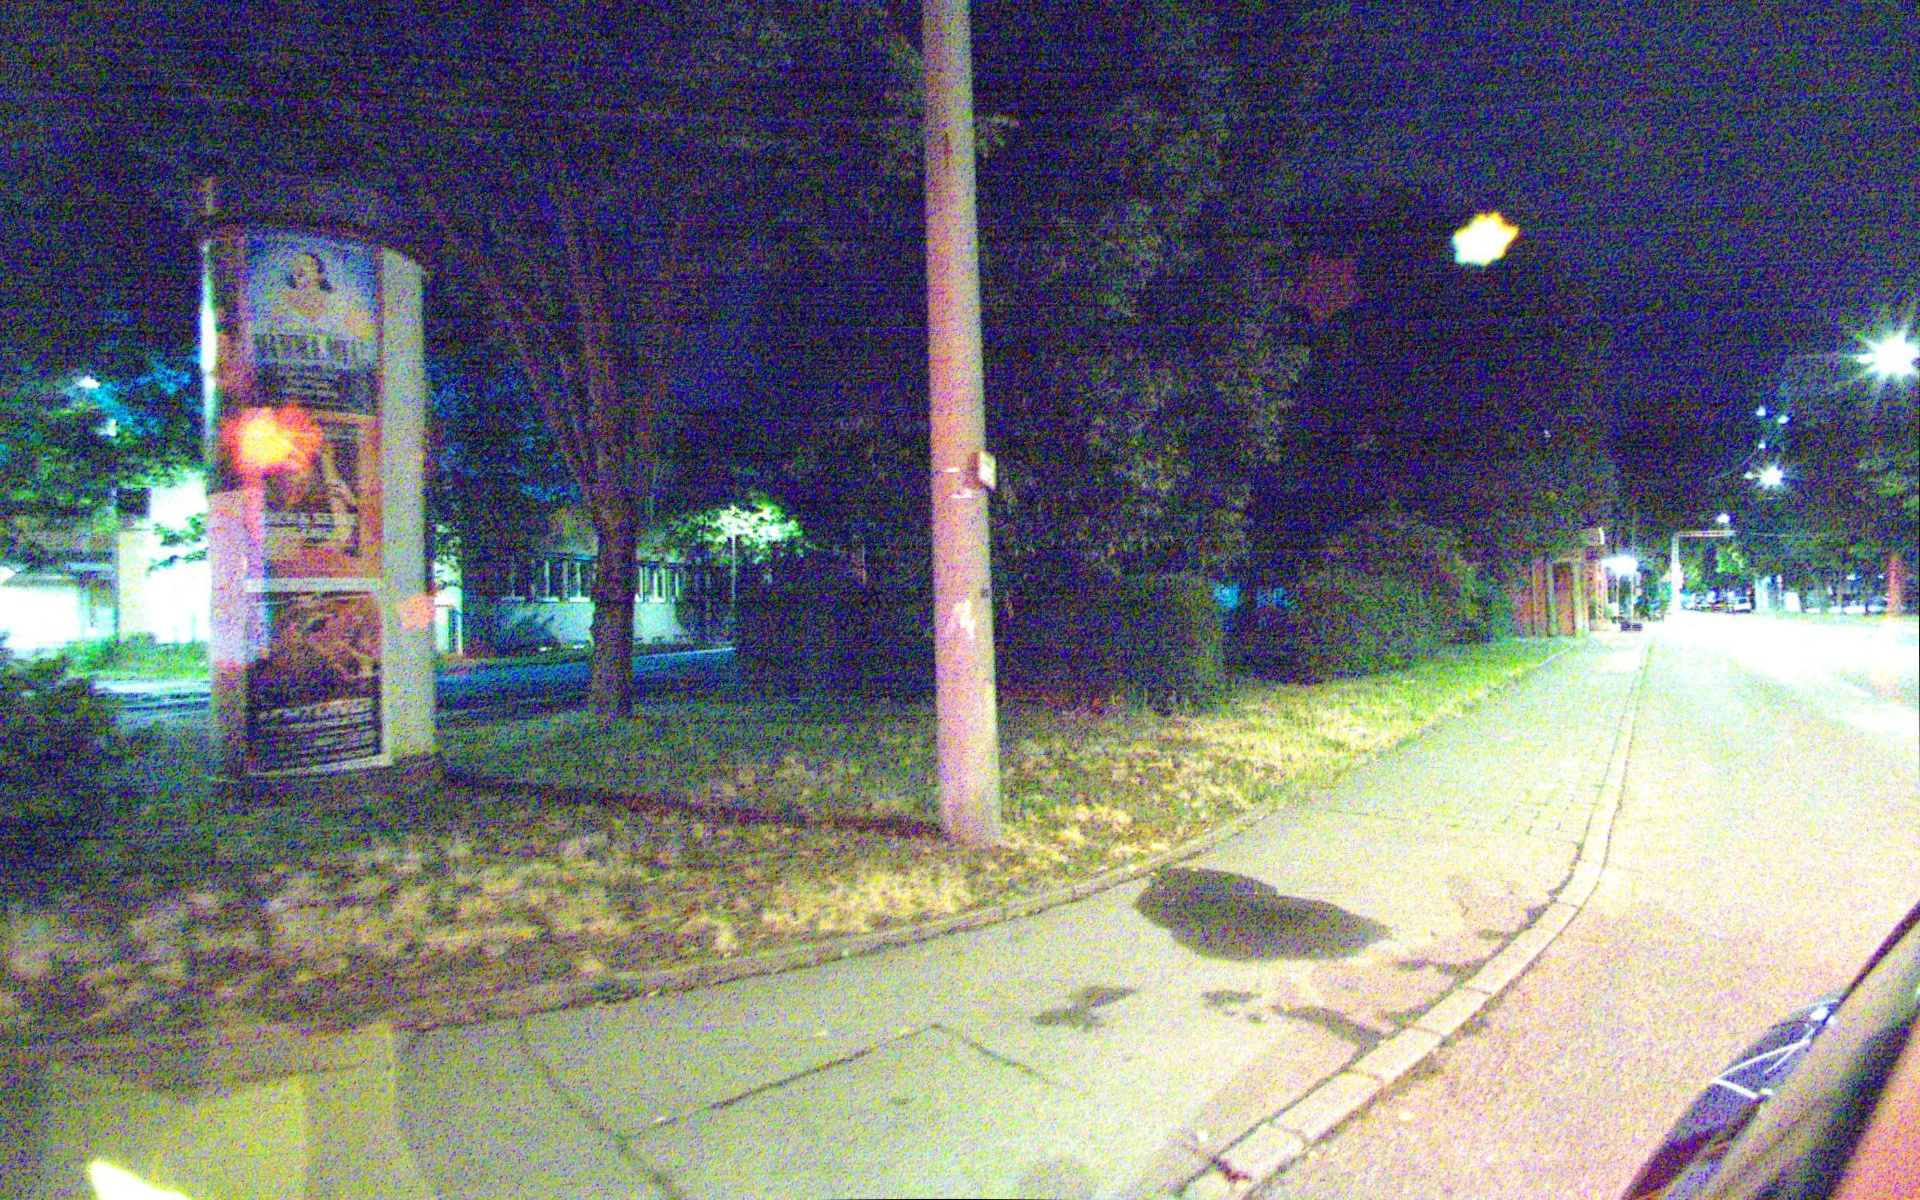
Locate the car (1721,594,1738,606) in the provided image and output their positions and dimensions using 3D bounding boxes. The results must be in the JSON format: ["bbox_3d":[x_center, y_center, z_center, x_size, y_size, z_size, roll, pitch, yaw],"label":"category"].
[{"bbox_3d":[105.406,-0.009,138.661,1.816,1.668,3.683,-1,0,36],"label":"car"}]

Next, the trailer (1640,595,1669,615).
[{"bbox_3d":[55.222,0.376,80.492,1.597,1.514,3.681,-3,-2,38],"label":"trailer"}]

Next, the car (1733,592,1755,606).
[{"bbox_3d":[93.313,-0.105,120.538,1.815,1.450,3.683,-5,-3,36],"label":"car"}]

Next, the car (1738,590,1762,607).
[{"bbox_3d":[90.067,-0.157,115.430,1.872,1.832,3.683,-5,-3,36],"label":"car"}]

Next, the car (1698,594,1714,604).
[{"bbox_3d":[122.763,-0.165,166.629,1.813,1.450,3.687,-5,-3,33],"label":"car"}]

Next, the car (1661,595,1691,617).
[{"bbox_3d":[51.177,0.445,72.295,1.582,1.480,3.746,-3,-2,37],"label":"car"}]

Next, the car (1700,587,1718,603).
[{"bbox_3d":[129.890,-0.888,175.574,1.991,2.540,4.896,-5,-3,33],"label":"car"}]
